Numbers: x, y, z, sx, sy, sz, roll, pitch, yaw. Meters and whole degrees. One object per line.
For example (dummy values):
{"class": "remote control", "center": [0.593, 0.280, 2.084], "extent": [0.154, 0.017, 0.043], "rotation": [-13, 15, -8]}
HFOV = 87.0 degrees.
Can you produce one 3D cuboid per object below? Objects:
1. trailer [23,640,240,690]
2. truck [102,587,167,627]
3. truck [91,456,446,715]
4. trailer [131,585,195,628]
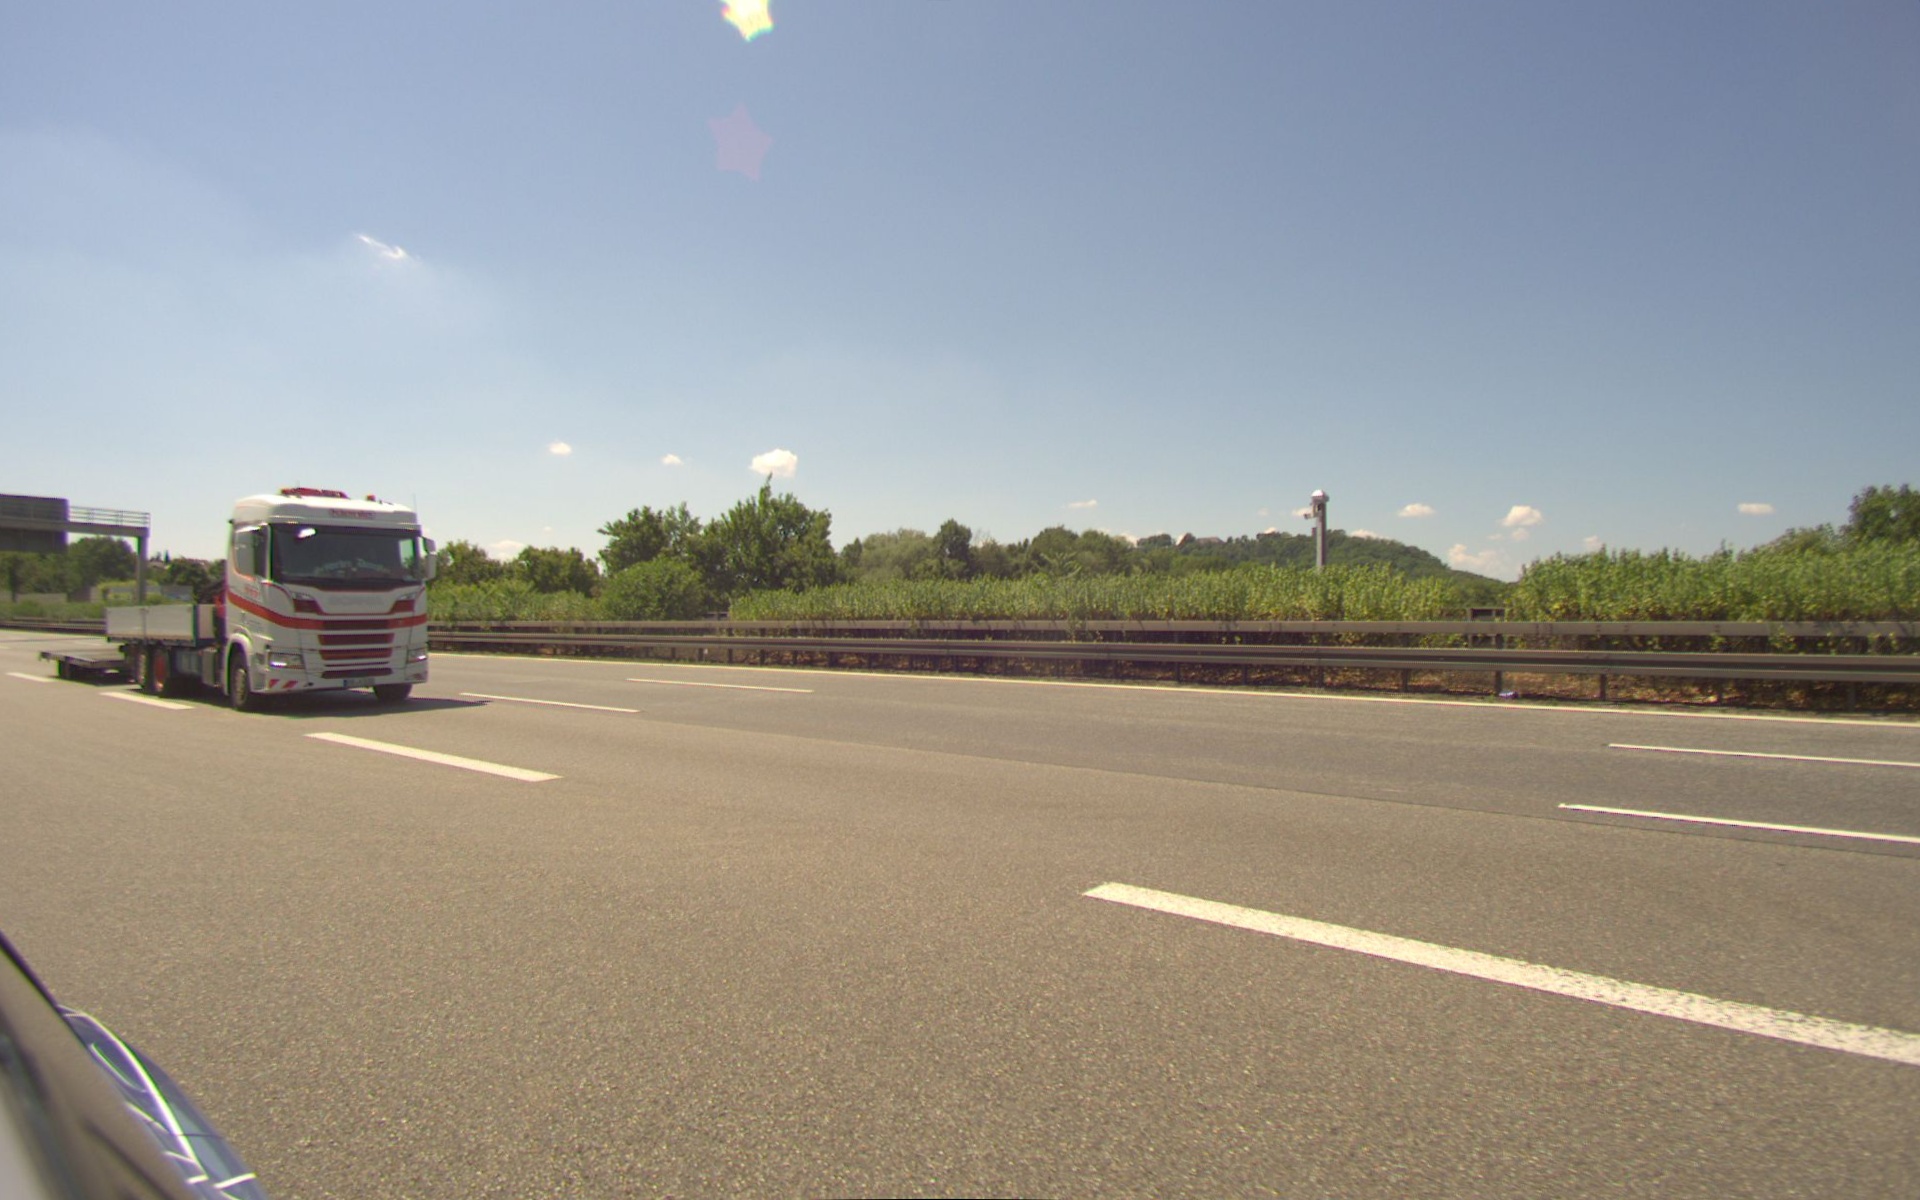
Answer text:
{"class": "trailer", "center": [-20.731, 1.523, 25.138], "extent": [7.751, 0.941, 2.688], "rotation": [-2, -1, 39]}
{"class": "truck", "center": [-85.350, 0.713, 104.561], "extent": [10.306, 3.997, 2.973], "rotation": [-1, 0, 38]}
{"class": "truck", "center": [-13.647, -0.112, 19.368], "extent": [10.660, 3.831, 2.688], "rotation": [-2, -1, 39]}
{"class": "trailer", "center": [-77.843, 0.651, 98.750], "extent": [8.645, 3.997, 2.895], "rotation": [-1, 0, 38]}
